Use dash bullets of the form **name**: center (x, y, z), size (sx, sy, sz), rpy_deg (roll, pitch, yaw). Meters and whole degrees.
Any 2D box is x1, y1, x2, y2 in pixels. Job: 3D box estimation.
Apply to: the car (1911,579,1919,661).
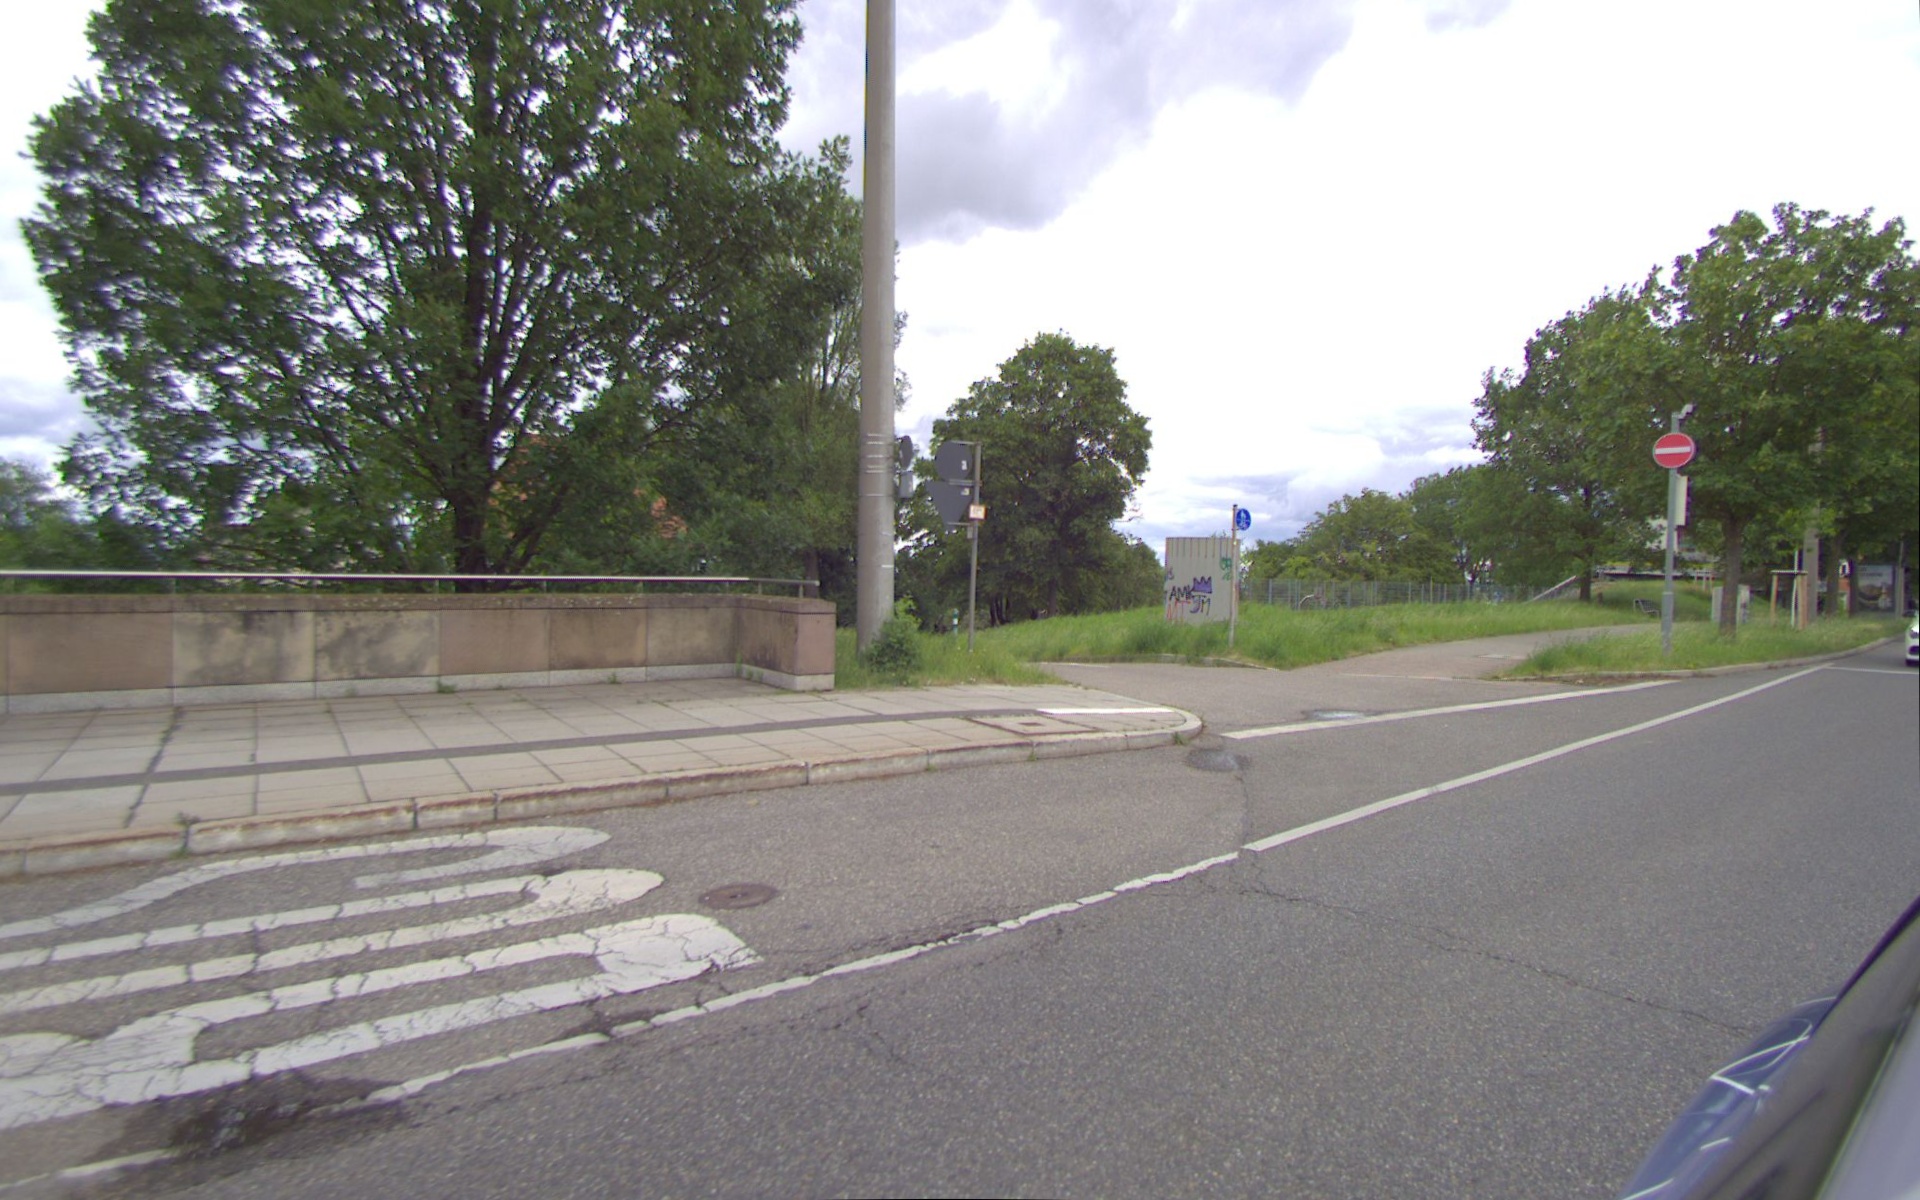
- **car**: center (20.182, 0.355, 19.901), size (4.693, 1.524, 1.870), rpy_deg (-2, 3, -43)
